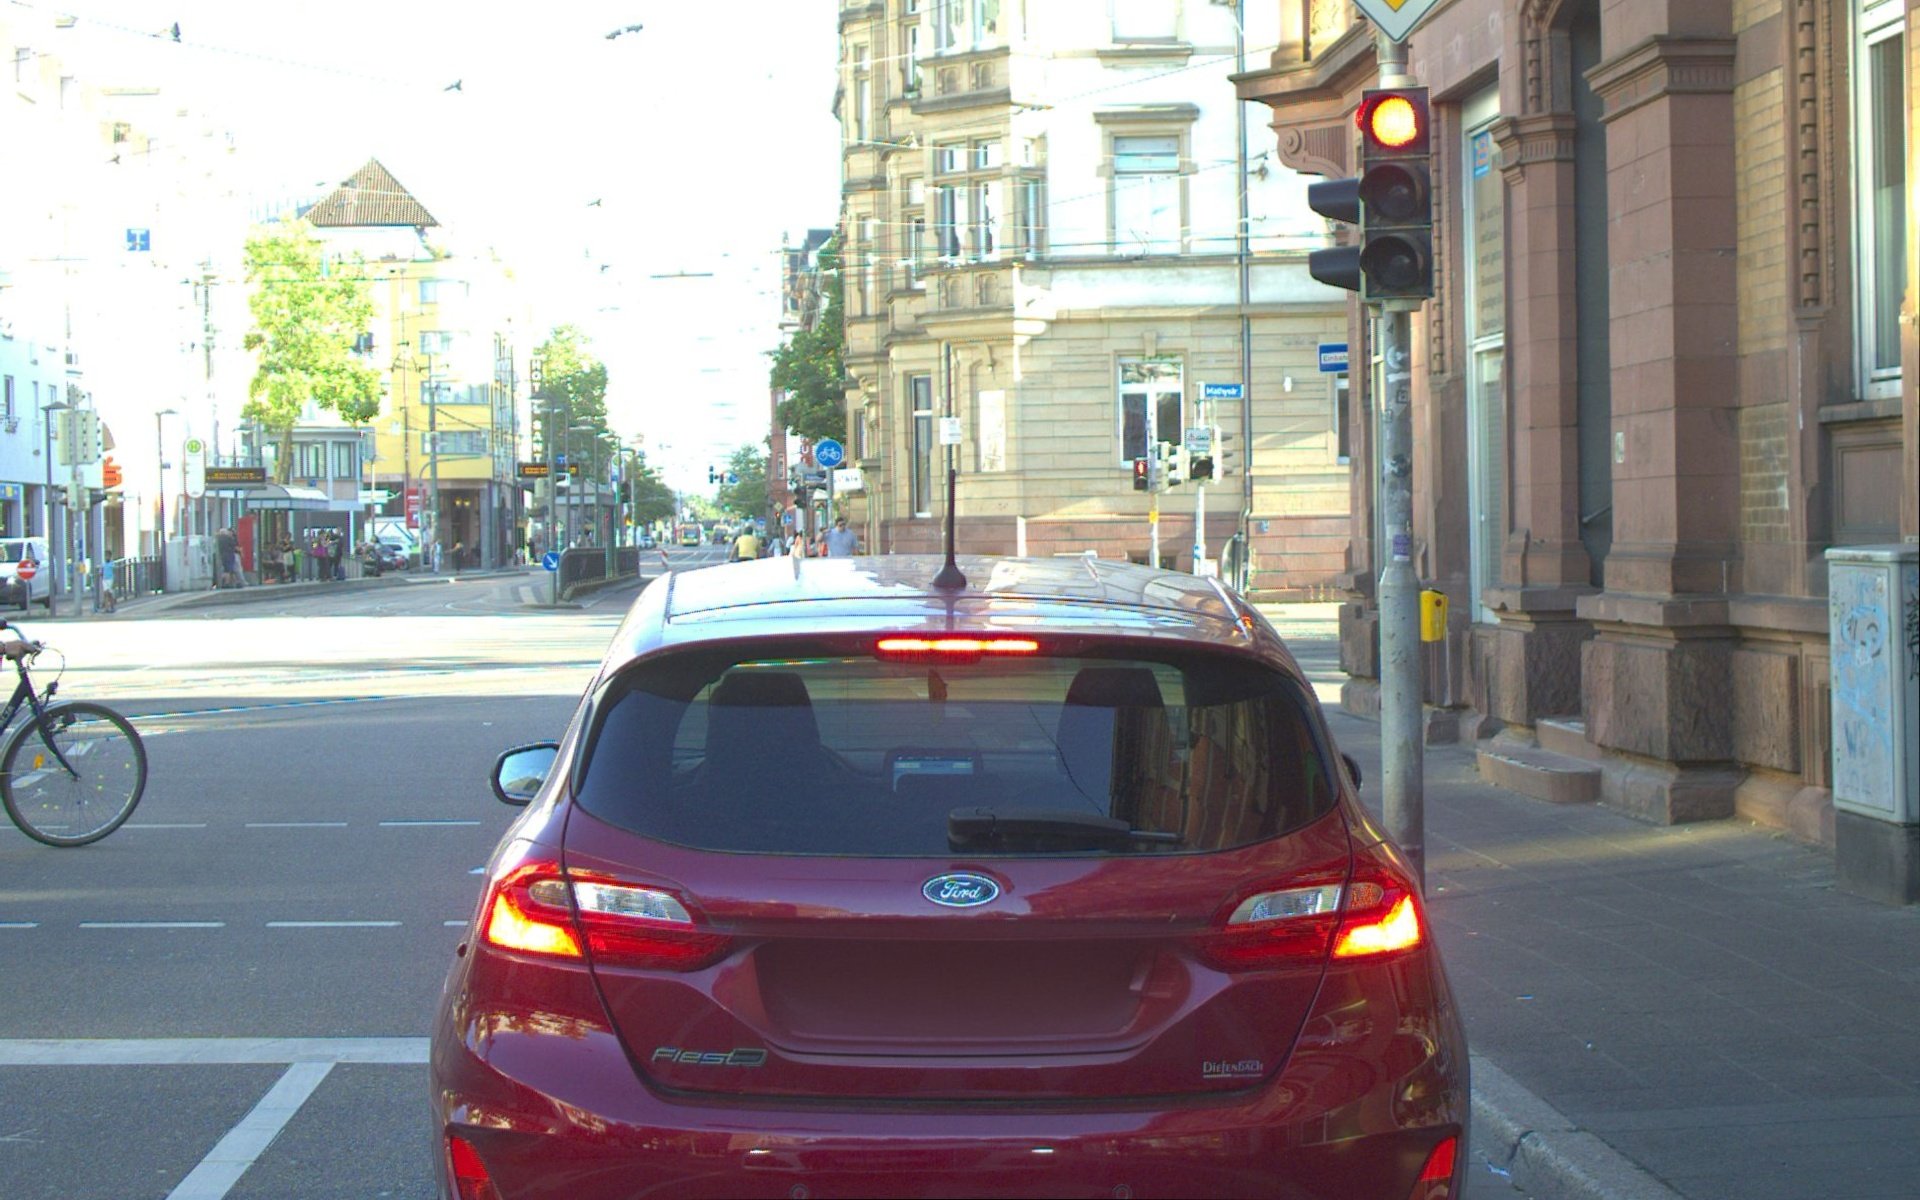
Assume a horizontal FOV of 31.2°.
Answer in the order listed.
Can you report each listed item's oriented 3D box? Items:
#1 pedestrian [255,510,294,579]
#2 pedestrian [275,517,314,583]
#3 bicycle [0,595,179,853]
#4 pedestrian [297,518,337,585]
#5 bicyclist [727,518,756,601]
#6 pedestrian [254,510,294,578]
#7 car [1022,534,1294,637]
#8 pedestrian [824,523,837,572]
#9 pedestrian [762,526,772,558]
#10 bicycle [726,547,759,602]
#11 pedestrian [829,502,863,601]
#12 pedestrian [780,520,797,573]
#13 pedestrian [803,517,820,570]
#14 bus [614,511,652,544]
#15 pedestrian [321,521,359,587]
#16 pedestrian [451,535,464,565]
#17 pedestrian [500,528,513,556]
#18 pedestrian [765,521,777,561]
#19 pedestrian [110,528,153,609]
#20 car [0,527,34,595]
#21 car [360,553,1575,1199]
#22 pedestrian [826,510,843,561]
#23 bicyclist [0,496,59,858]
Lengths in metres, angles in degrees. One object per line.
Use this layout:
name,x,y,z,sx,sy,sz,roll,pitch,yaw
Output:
pedestrian,-20.257,-1.635,101.603,0.956,2.007,1.049,-1,1,-3
pedestrian,-20.473,-1.542,105.775,1.045,2.007,0.959,-1,1,-5
bicycle,-4.699,0.568,15.948,2.018,1.173,0.628,0,1,-24
pedestrian,-19.435,-1.470,103.918,1.045,2.007,0.959,-1,1,-5
bicyclist,-4.443,-0.819,69.886,0.499,1.670,0.545,-1,1,2
pedestrian,-20.674,-1.695,103.584,1.045,2.007,0.959,-1,1,-5
car,3.343,-0.253,57.539,4.445,1.635,1.704,-1,1,6
pedestrian,-4.397,-1.790,117.002,0.413,1.674,0.485,-1,1,-1
pedestrian,-11.323,-3.407,201.620,0.577,1.880,0.631,-1,1,-3
bicycle,-4.438,-0.524,70.092,0.526,1.085,1.486,-1,1,2
pedestrian,-2.315,-0.984,69.801,0.651,2.007,0.760,-1,1,-4
pedestrian,-6.533,-2.023,130.826,0.577,2.007,0.631,-1,1,3
pedestrian,-5.637,-2.161,130.607,0.577,2.007,0.631,-1,1,3
bus,-20.690,-4.611,217.902,1.925,2.007,7.138,-1,1,-2
pedestrian,-19.201,-1.433,106.437,1.045,2.007,0.959,-1,1,-5
pedestrian,-24.439,-2.436,167.059,0.524,1.483,0.583,-1,1,-1
pedestrian,-26.085,-3.323,197.654,0.628,1.599,0.579,-1,1,-20
pedestrian,-9.573,-2.971,174.026,0.577,2.007,0.631,-1,1,-3
pedestrian,-17.780,-0.678,73.779,0.768,1.724,0.573,-1,1,-1
car,-25.037,-1.015,88.377,1.701,1.713,3.565,-1,1,-4
car,-0.155,0.654,6.937,1.754,1.461,3.946,1,1,-5
pedestrian,-4.936,-2.538,135.476,0.577,2.007,0.631,-1,1,3
bicyclist,-4.546,0.341,15.696,0.729,1.621,0.766,0,1,-23
